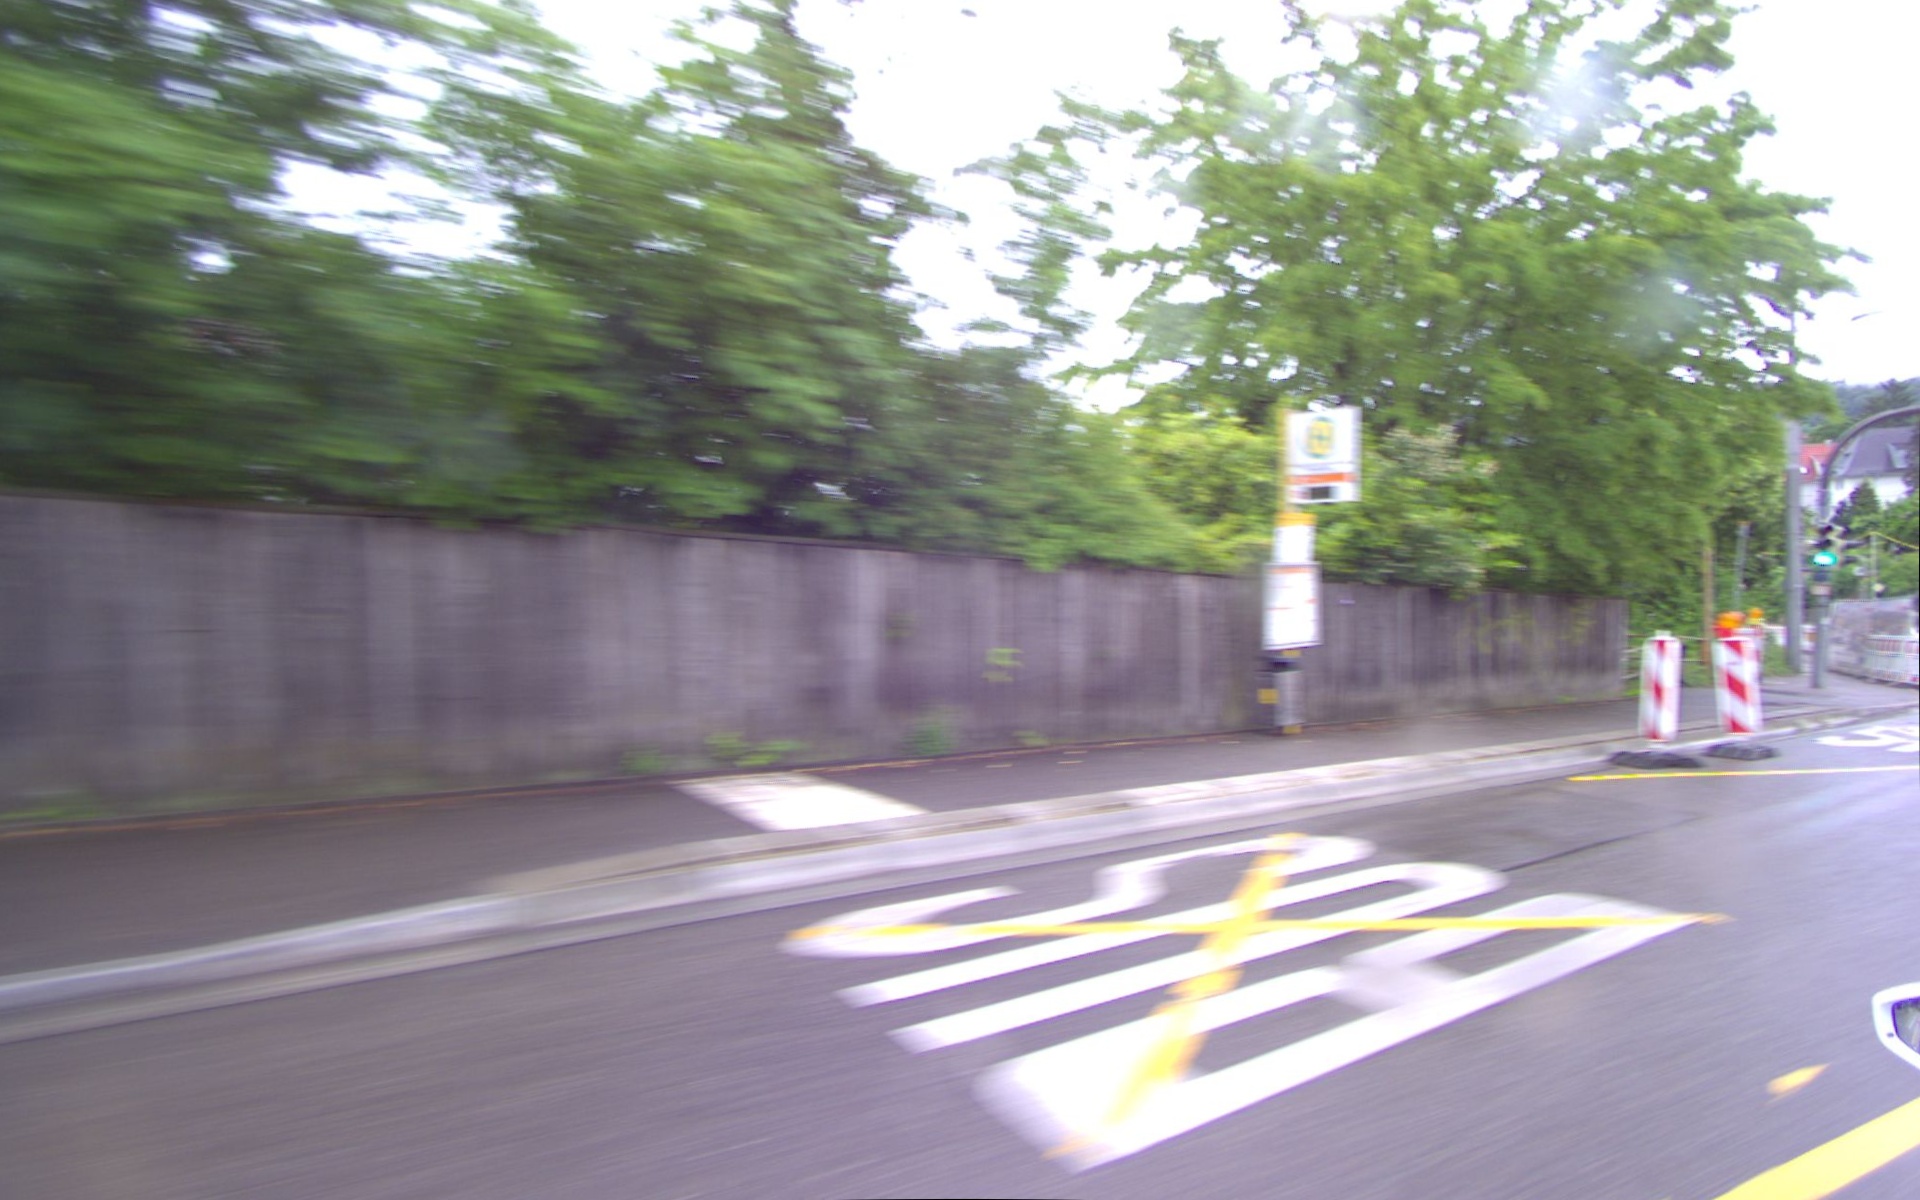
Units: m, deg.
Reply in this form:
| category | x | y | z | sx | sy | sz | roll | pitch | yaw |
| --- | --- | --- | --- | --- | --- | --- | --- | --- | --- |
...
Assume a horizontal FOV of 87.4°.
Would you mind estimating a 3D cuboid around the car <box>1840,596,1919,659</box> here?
| category | x | y | z | sx | sy | sz | roll | pitch | yaw |
| --- | --- | --- | --- | --- | --- | --- | --- | --- | --- |
| car | 32.456 | 0.961 | 35.205 | 1.968 | 2.040 | 4.789 | 1 | -1 | 36 |
